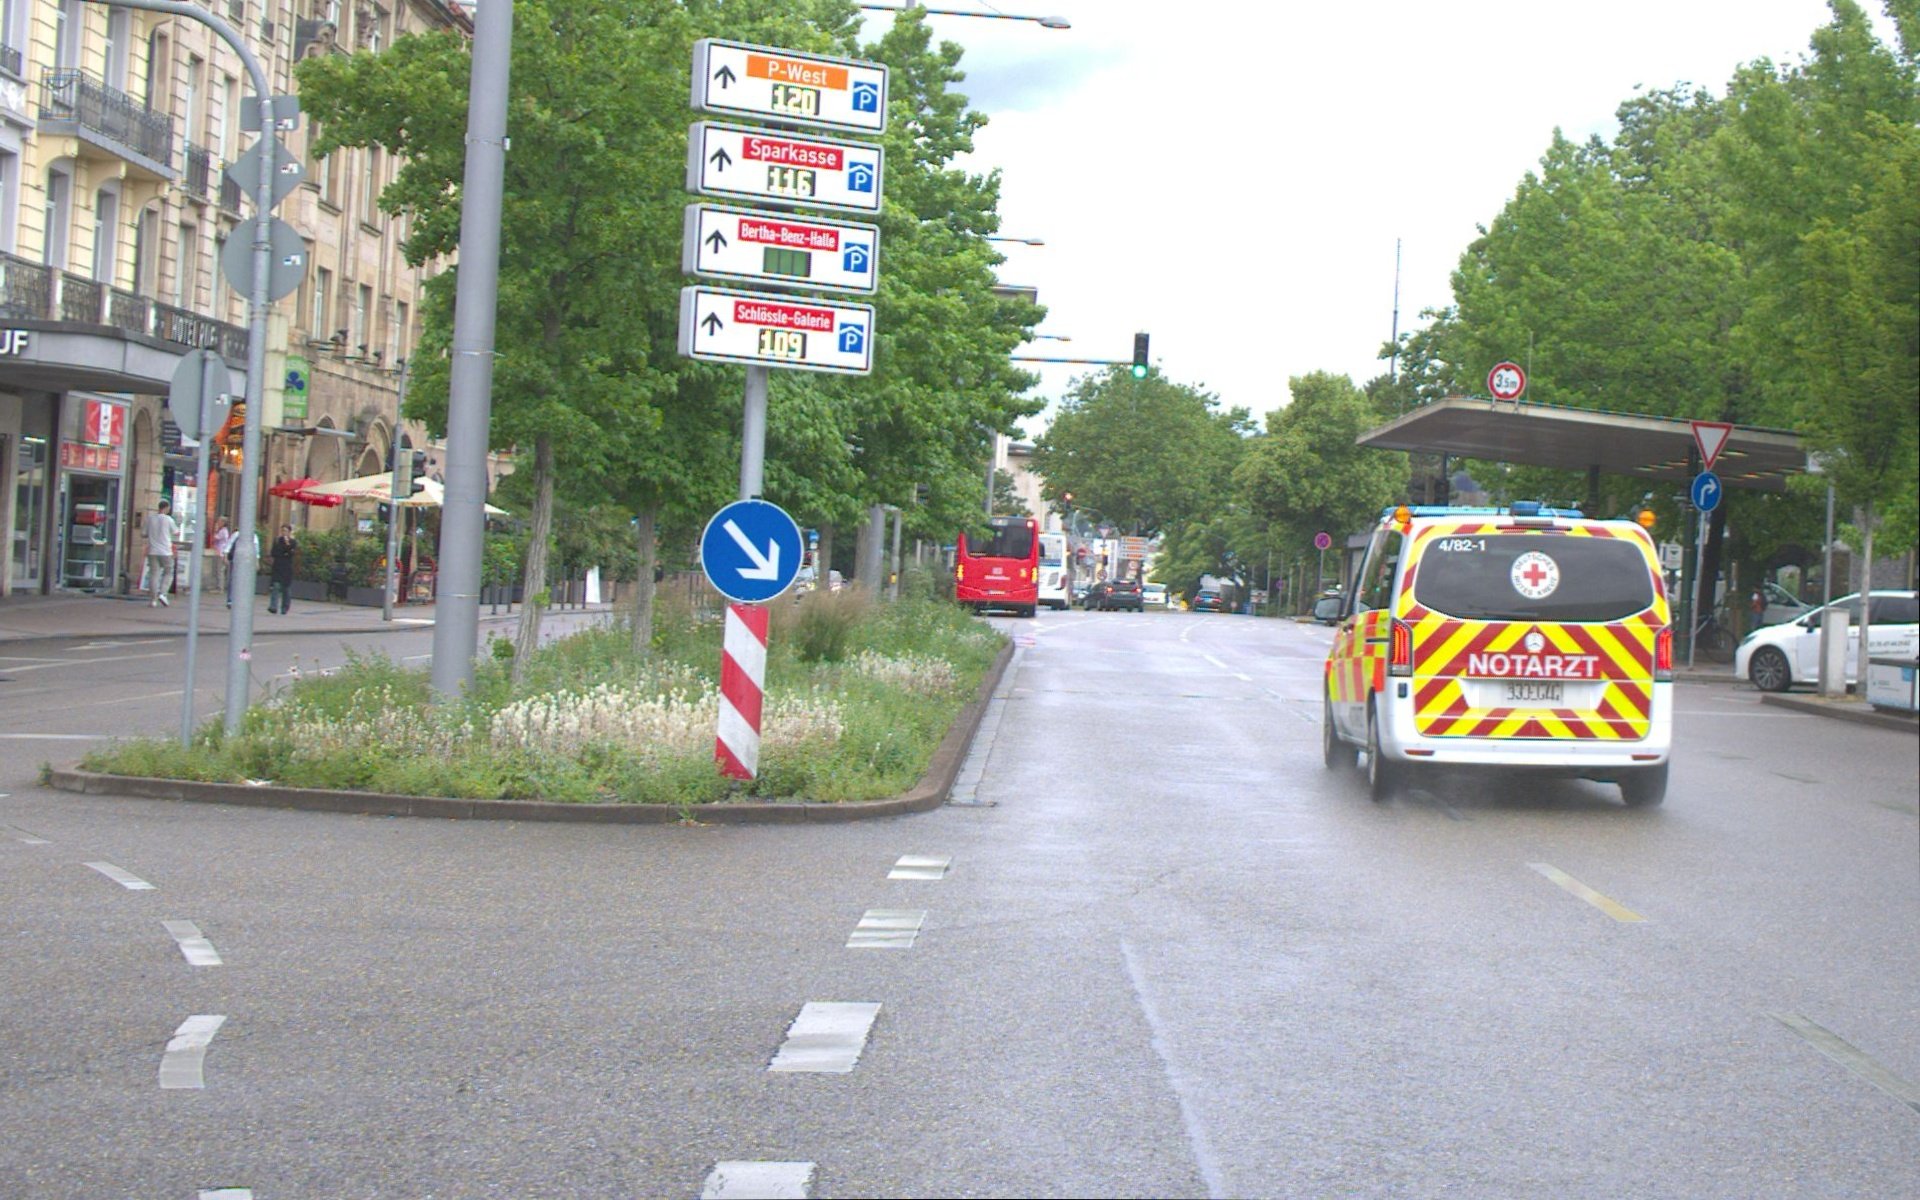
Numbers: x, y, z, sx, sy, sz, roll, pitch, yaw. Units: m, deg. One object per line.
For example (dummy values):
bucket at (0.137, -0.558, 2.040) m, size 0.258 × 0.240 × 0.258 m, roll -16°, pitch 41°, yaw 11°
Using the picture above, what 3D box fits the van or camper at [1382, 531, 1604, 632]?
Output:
van or camper at (15.091, -0.501, 97.343) m, size 5.945 × 2.753 × 2.199 m, roll 1°, pitch 0°, yaw -25°

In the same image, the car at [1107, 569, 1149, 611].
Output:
car at (8.189, -0.479, 167.942) m, size 1.994 × 2.007 × 4.000 m, roll 1°, pitch 0°, yaw 2°

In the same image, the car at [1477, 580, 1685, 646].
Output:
car at (13.886, 0.295, 76.916) m, size 4.184 × 1.321 × 1.841 m, roll 2°, pitch 0°, yaw -17°

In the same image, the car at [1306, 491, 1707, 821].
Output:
car at (3.624, 0.335, 23.733) m, size 1.993 × 2.007 × 5.061 m, roll 1°, pitch 0°, yaw 1°

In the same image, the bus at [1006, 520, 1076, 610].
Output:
bus at (3.456, -1.487, 148.980) m, size 2.805 × 3.734 × 10.445 m, roll 1°, pitch 0°, yaw 0°

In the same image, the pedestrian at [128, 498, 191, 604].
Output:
pedestrian at (-13.834, -0.847, 59.447) m, size 0.879 × 1.806 × 0.750 m, roll 1°, pitch 0°, yaw 2°

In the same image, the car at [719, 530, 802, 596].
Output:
car at (-6.226, -1.143, 108.019) m, size 1.994 × 2.007 × 5.000 m, roll 1°, pitch 0°, yaw 4°

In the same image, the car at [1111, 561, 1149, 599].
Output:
car at (9.055, -1.058, 183.468) m, size 1.994 × 2.007 × 4.000 m, roll 1°, pitch 0°, yaw 2°

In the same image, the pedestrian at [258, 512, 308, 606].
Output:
pedestrian at (-12.170, -0.733, 61.807) m, size 0.681 × 1.658 × 0.807 m, roll 1°, pitch 0°, yaw 2°

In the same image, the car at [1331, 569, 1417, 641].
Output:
car at (9.634, 0.120, 80.217) m, size 1.859 × 1.564 × 3.999 m, roll 2°, pitch 0°, yaw 6°

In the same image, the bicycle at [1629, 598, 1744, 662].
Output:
bicycle at (12.165, 0.502, 57.602) m, size 1.827 × 1.052 × 0.420 m, roll 1°, pitch 0°, yaw 2°

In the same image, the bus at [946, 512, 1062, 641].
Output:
bus at (1.525, -0.745, 112.237) m, size 3.545 × 3.966 × 11.171 m, roll 1°, pitch 0°, yaw 2°

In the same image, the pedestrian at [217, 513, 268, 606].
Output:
pedestrian at (-12.919, -0.733, 61.895) m, size 0.681 × 1.658 × 0.807 m, roll 1°, pitch 0°, yaw 5°

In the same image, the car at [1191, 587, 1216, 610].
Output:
car at (16.714, -0.108, 235.738) m, size 1.595 × 1.555 × 3.650 m, roll 1°, pitch 0°, yaw 2°

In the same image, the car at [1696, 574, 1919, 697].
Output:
car at (12.296, 0.476, 45.929) m, size 1.758 × 1.540 × 4.776 m, roll 2°, pitch 0°, yaw -37°

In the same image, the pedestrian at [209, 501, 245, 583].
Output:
pedestrian at (-15.059, -1.192, 70.638) m, size 0.666 × 1.658 × 0.536 m, roll 1°, pitch 0°, yaw -6°
